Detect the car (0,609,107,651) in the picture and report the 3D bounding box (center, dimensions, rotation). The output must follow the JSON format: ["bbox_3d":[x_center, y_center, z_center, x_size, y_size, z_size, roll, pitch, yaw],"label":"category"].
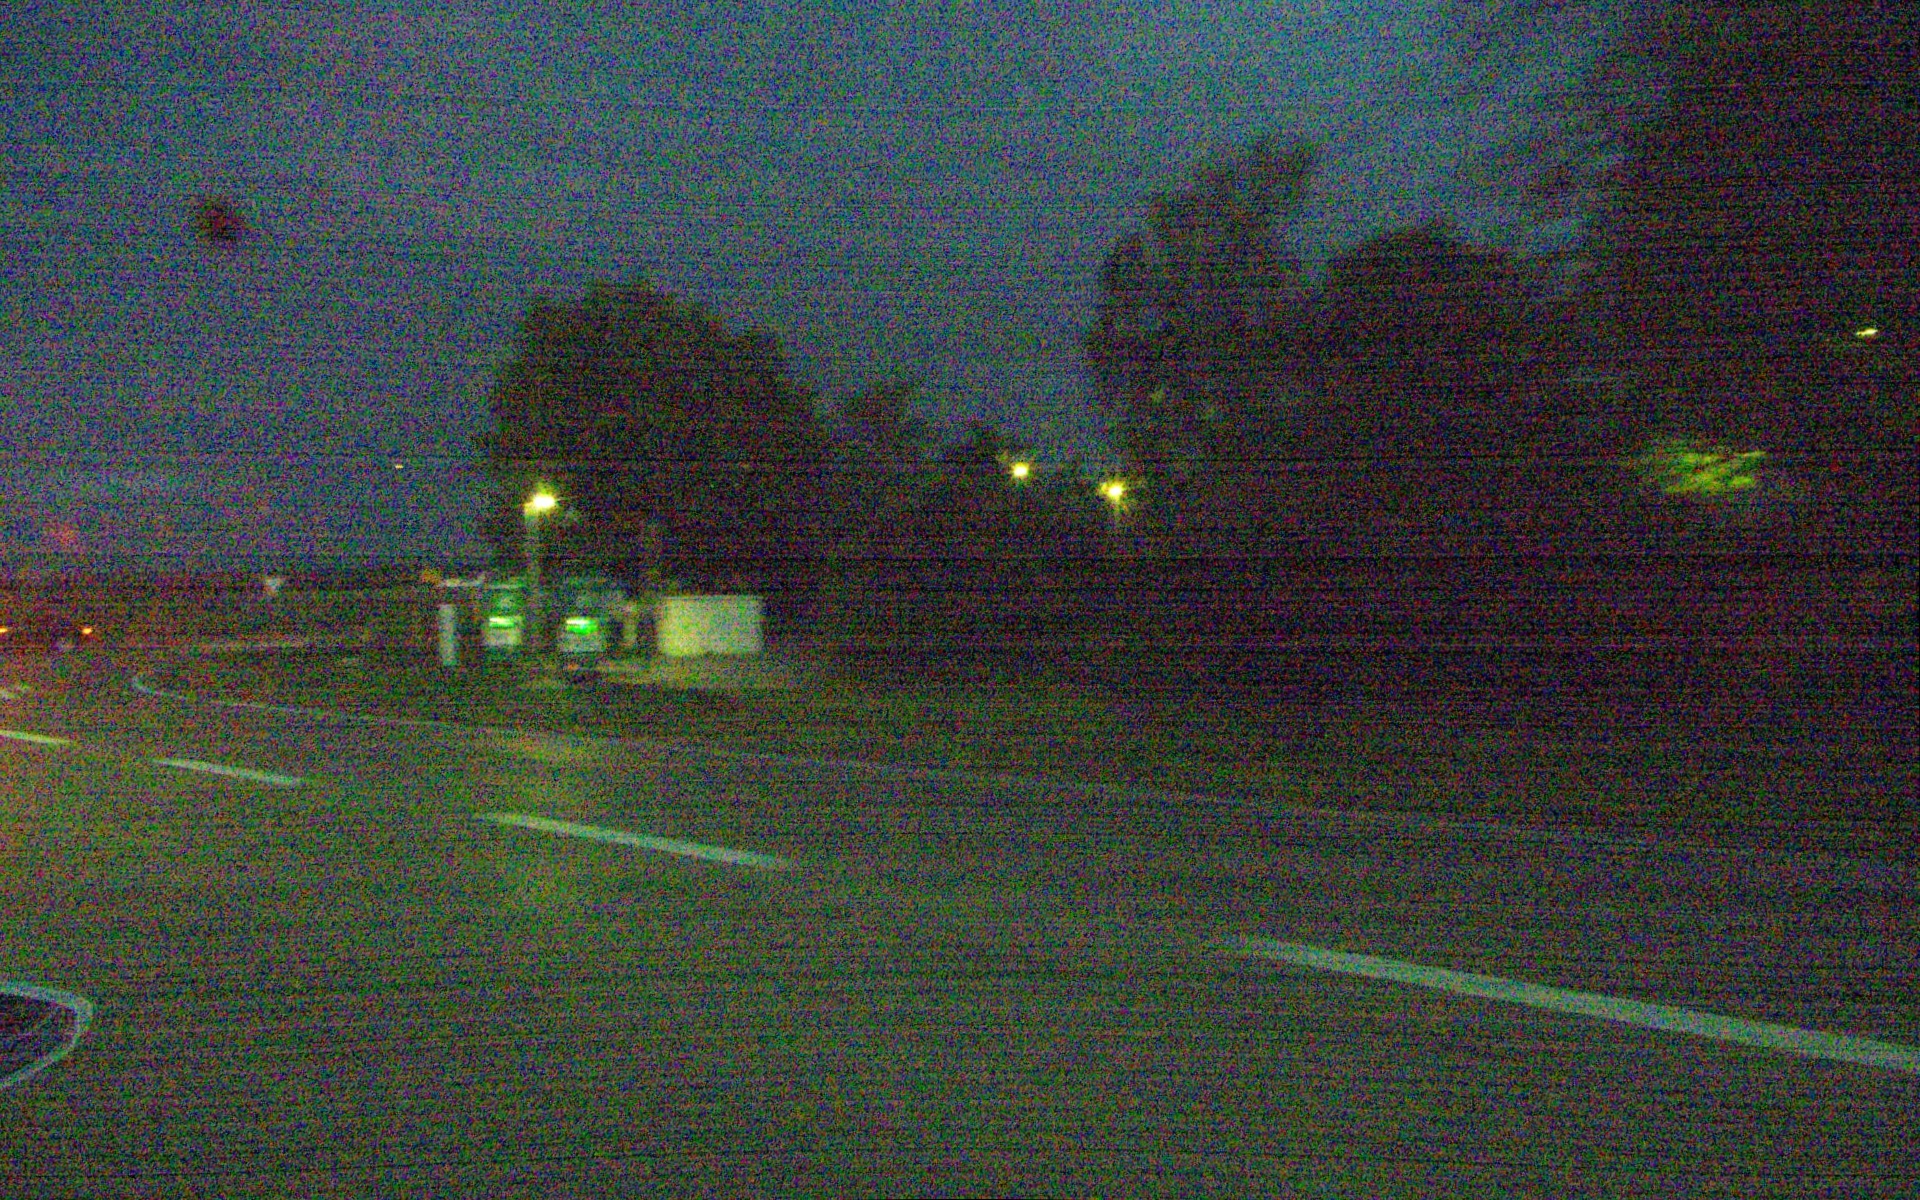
[{"bbox_3d":[-38.144,1.212,40.919,1.971,1.541,4.590,0,1,32],"label":"car"}]
